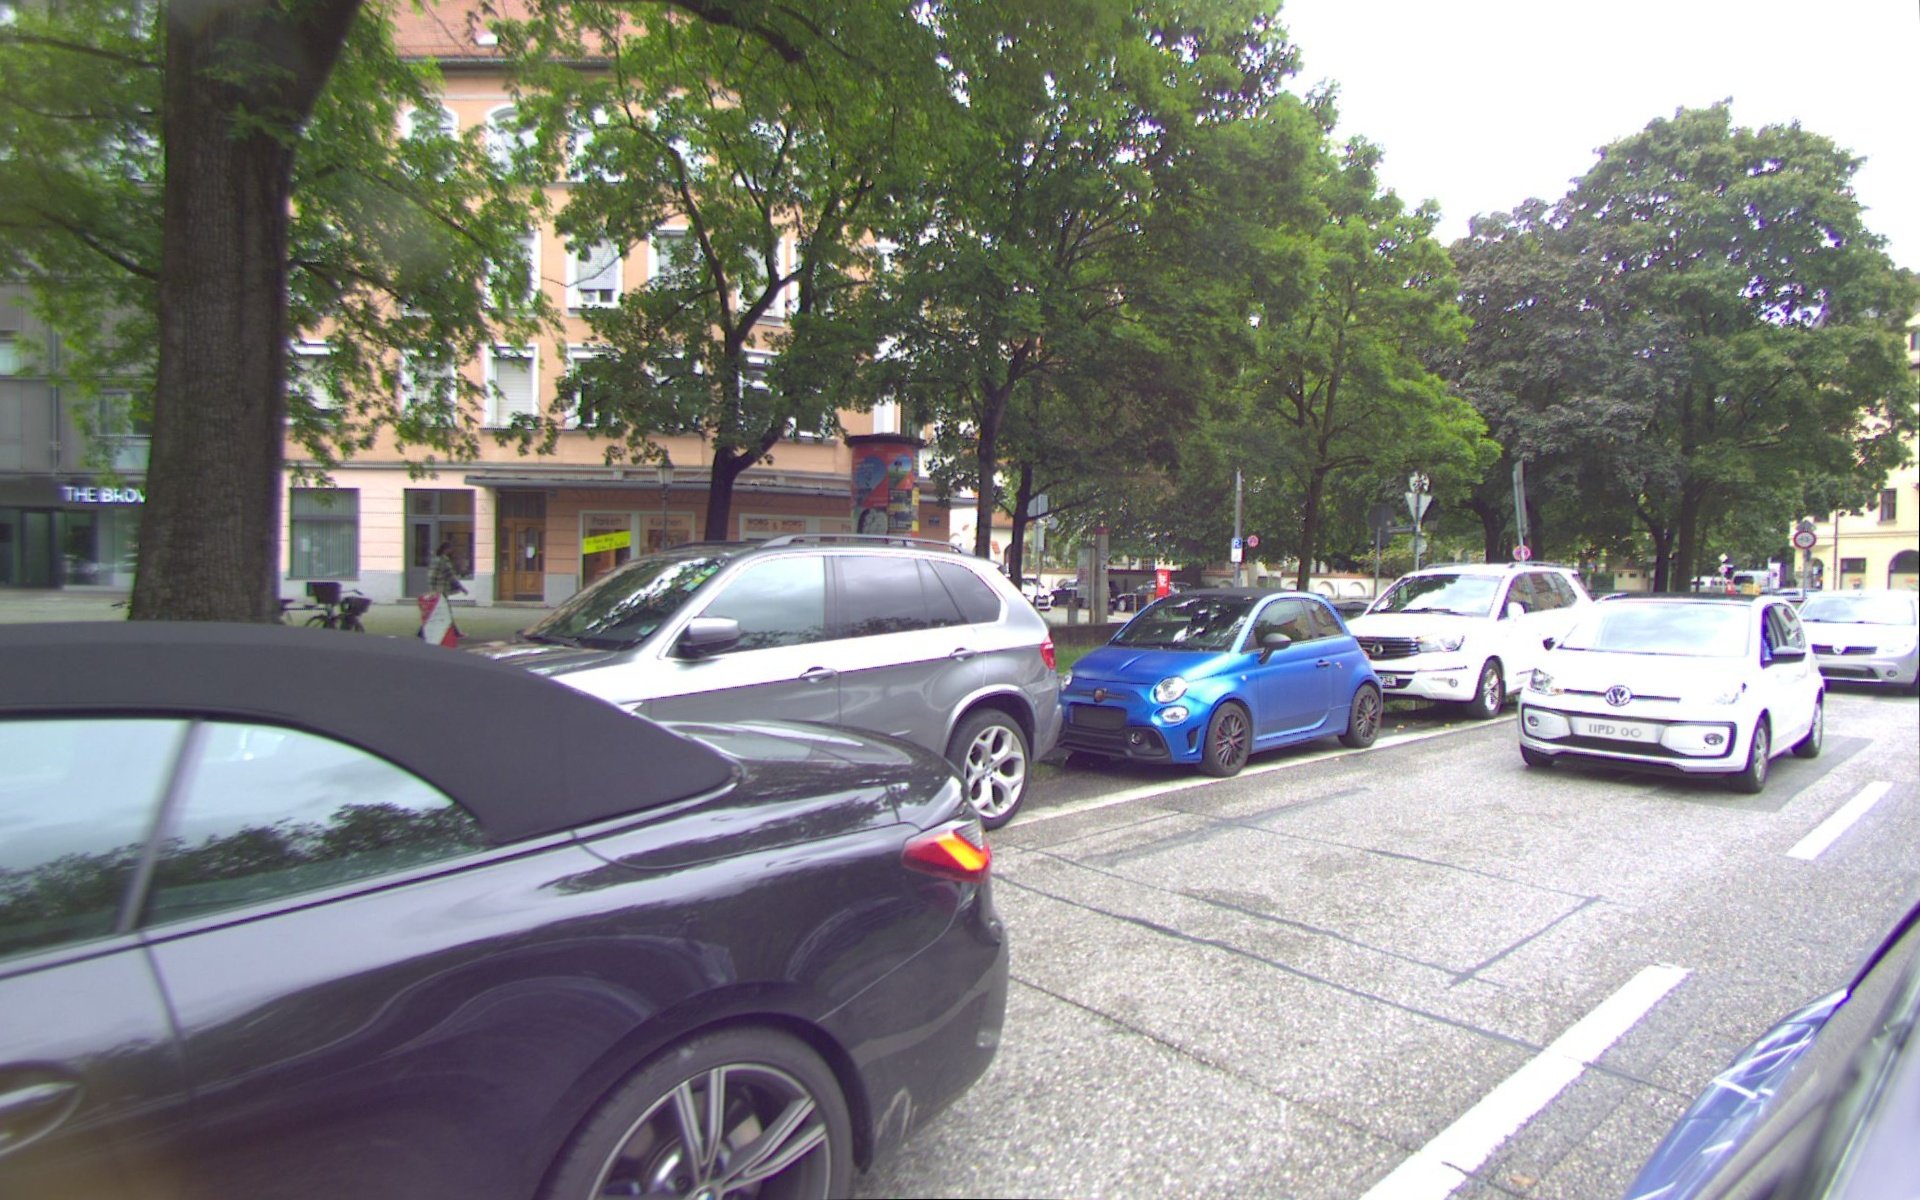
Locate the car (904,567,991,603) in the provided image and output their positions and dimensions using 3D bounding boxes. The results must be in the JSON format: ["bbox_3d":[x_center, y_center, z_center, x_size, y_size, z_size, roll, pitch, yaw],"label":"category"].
[{"bbox_3d":[-0.605,-0.660,44.346,1.824,1.485,4.447,-1,1,-31],"label":"car"}]

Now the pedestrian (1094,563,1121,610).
[{"bbox_3d":[5.010,-0.449,34.391,0.632,1.571,0.603,-1,0,-35],"label":"pedestrian"}]

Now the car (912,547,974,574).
[{"bbox_3d":[-1.096,-2.400,61.754,1.824,1.485,4.447,-1,1,-31],"label":"car"}]

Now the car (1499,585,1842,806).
[{"bbox_3d":[6.246,0.631,8.761,3.557,1.483,1.647,-1,2,-42],"label":"car"}]

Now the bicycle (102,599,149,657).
[{"bbox_3d":[-11.129,0.354,13.518,0.313,0.732,1.179,-1,1,-32],"label":"bicycle"}]

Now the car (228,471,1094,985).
[{"bbox_3d":[-1.366,0.405,5.898,1.932,1.842,4.481,2,2,45],"label":"car"}]

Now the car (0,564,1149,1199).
[{"bbox_3d":[-1.861,0.644,1.736,4.714,1.406,1.727,-1,2,-41],"label":"car"}]

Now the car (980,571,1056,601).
[{"bbox_3d":[2.990,-0.724,53.348,1.825,1.485,4.446,-1,1,-31],"label":"car"}]

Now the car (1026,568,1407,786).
[{"bbox_3d":[2.419,0.529,9.115,3.598,1.568,1.523,-1,2,-41],"label":"car"}]

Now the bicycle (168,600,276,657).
[{"bbox_3d":[-10.131,0.377,13.920,1.155,0.732,0.319,-1,1,-30],"label":"bicycle"}]

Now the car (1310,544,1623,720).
[{"bbox_3d":[6.692,0.291,13.108,4.936,1.879,1.847,-1,2,-41],"label":"car"}]

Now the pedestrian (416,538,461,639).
[{"bbox_3d":[-10.122,-0.235,19.662,0.617,1.926,0.630,-1,0,-13],"label":"pedestrian"}]

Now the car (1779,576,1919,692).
[{"bbox_3d":[14.040,0.436,15.549,3.820,1.549,1.647,-1,2,-42],"label":"car"}]

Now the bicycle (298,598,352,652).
[{"bbox_3d":[-9.234,0.351,14.737,0.312,0.732,1.181,-1,1,-14],"label":"bicycle"}]

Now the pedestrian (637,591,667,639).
[{"bbox_3d":[-6.248,0.297,20.534,0.479,0.937,0.379,0,1,40],"label":"pedestrian"}]

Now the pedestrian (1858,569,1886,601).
[{"bbox_3d":[59.565,-0.987,66.107,0.860,2.039,1.010,-1,0,-9],"label":"pedestrian"}]

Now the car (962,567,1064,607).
[{"bbox_3d":[2.025,-0.515,39.887,1.825,1.485,4.446,-1,1,-31],"label":"car"}]

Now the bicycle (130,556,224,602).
[{"bbox_3d":[-22.563,-0.606,29.180,2.204,1.305,0.507,-1,0,-4],"label":"bicycle"}]

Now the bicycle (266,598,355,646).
[{"bbox_3d":[-10.420,0.342,16.262,1.154,0.732,0.320,-1,0,-19],"label":"bicycle"}]

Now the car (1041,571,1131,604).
[{"bbox_3d":[5.862,-0.579,47.555,1.825,1.485,4.446,-1,1,-31],"label":"car"}]

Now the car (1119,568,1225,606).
[{"bbox_3d":[8.819,-0.534,42.402,1.825,1.485,4.446,-1,1,-31],"label":"car"}]
